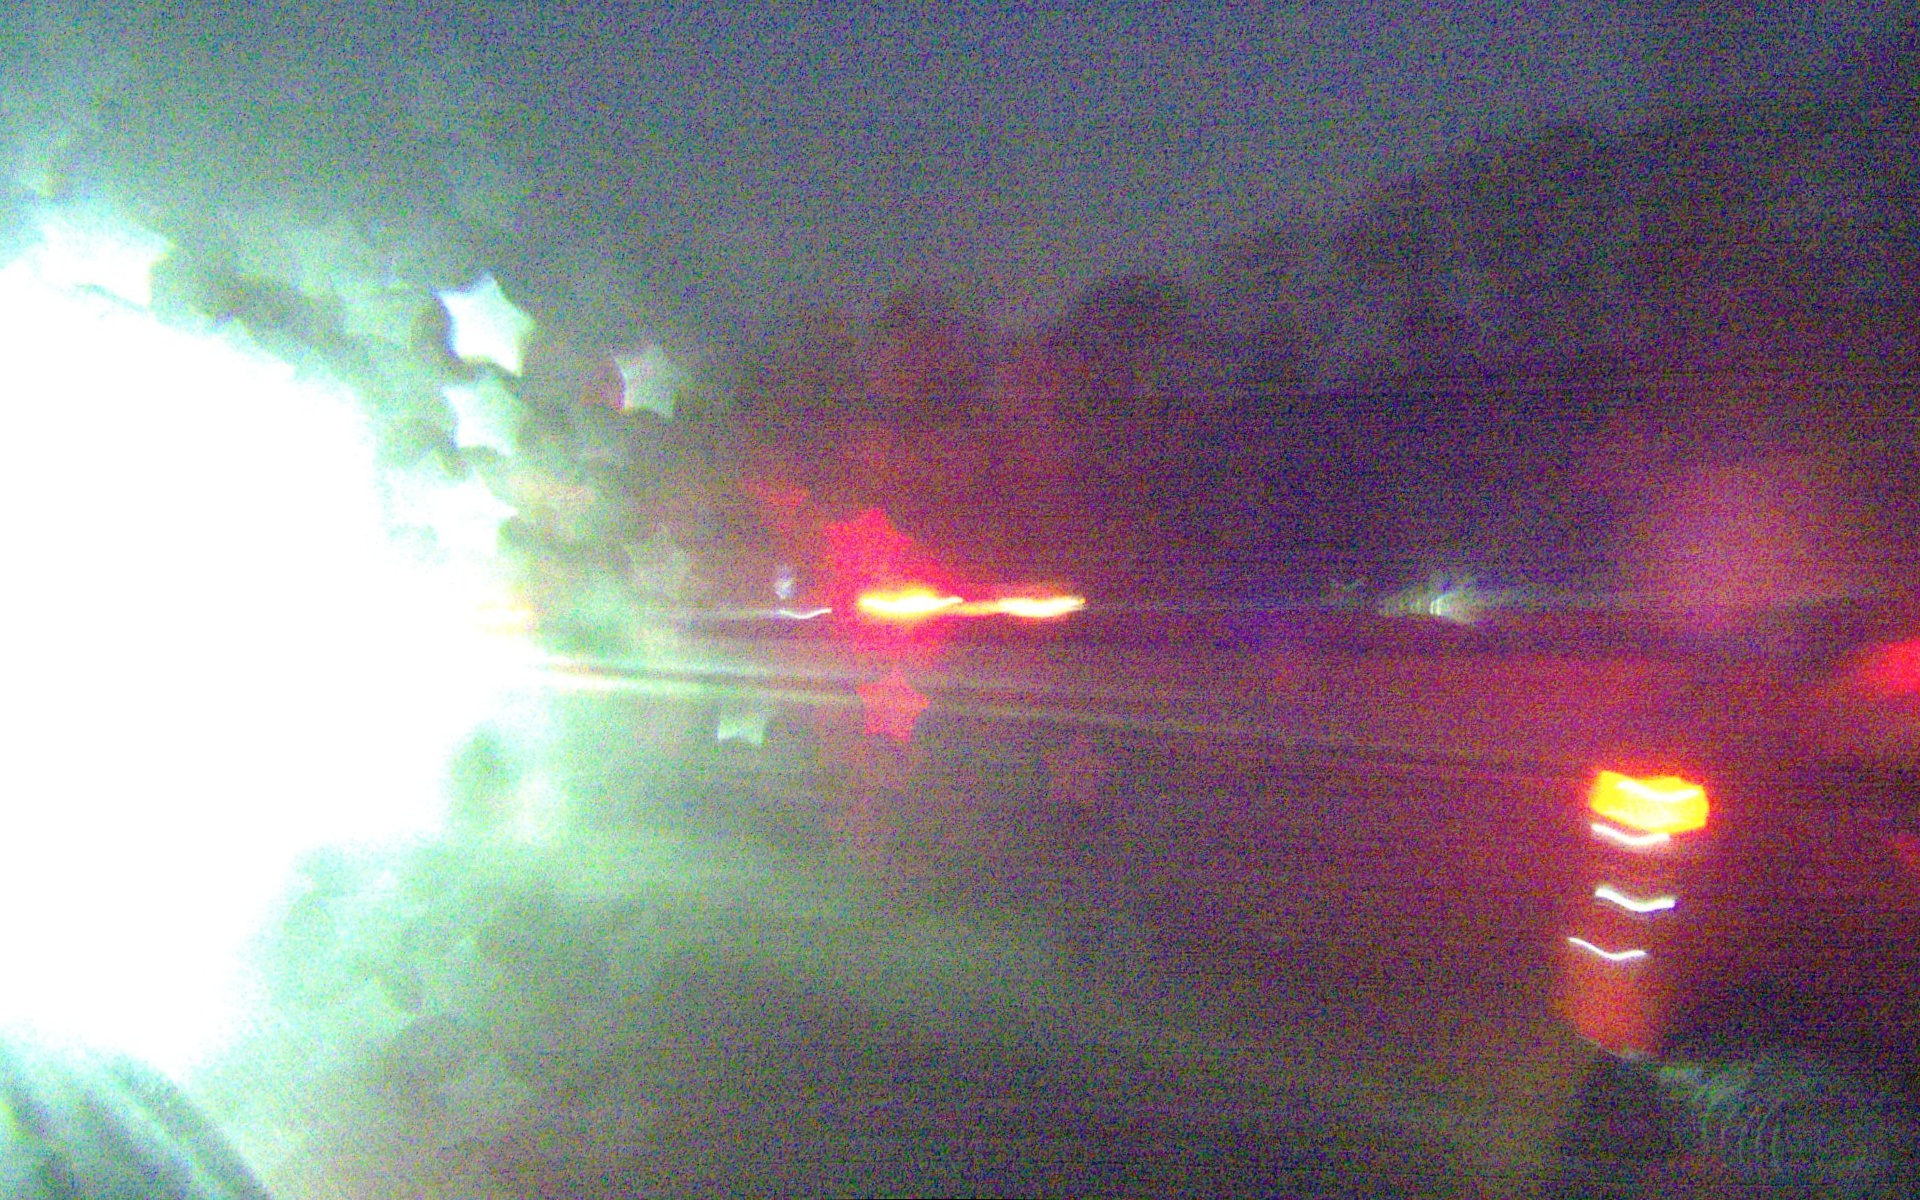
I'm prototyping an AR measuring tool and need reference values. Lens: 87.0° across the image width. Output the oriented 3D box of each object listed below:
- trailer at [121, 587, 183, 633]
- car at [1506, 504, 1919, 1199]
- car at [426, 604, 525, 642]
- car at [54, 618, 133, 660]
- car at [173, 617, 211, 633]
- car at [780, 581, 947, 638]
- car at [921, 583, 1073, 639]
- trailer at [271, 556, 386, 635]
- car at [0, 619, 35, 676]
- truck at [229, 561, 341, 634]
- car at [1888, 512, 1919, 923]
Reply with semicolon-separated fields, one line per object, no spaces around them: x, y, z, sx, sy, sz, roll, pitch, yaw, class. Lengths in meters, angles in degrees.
-102.916;1.249;128.766;13.747;5.486;4.122;-1;0;43;trailer
3.549;0.589;1.793;4.231;1.606;1.896;-1;0;41;car
-21.576;1.017;44.994;5.367;1.475;1.952;-1;2;41;car
-36.853;1.621;43.025;2.278;1.621;3.873;-1;0;-45;car
-64.743;2.105;85.322;4.270;1.230;1.689;-1;2;41;car
-2.866;0.273;29.278;4.895;1.475;1.952;-1;2;41;car
1.032;0.328;30.002;4.298;1.475;1.860;-1;2;43;car
-46.101;-0.262;73.726;8.991;5.178;4.297;-2;3;41;trailer
-30.764;1.491;32.089;1.970;1.689;4.003;-1;0;-44;car
-53.555;-0.115;80.150;10.464;5.178;4.297;-2;3;40;truck
6.615;0.462;3.537;4.885;1.790;1.973;-1;0;42;car
